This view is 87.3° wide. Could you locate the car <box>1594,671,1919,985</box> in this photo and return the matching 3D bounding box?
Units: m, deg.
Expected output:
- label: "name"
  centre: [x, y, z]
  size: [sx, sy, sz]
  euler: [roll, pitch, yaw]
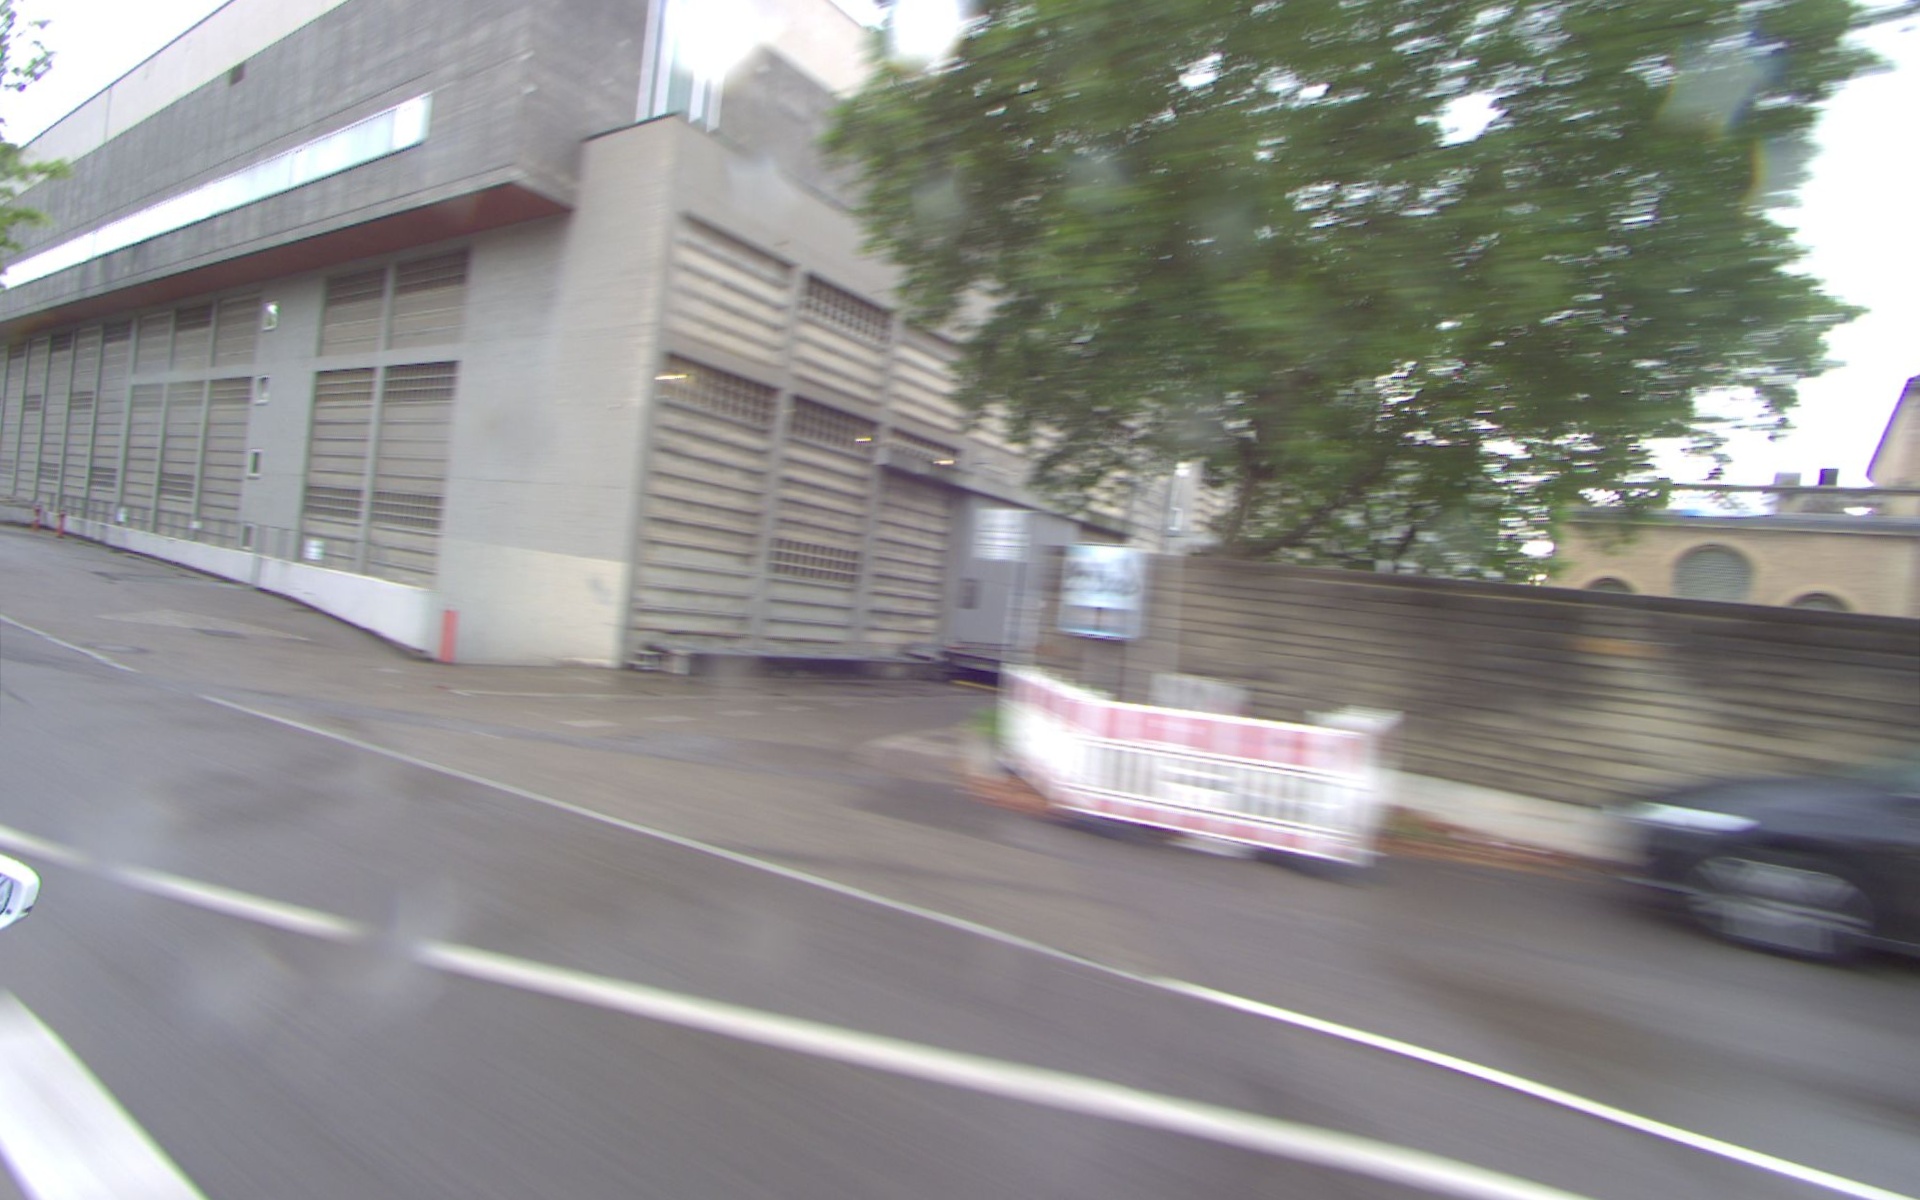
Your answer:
- label: "car"
  centre: [6.472, 1.475, 5.996]
  size: [4.263, 1.572, 1.801]
  euler: [6, 2, 39]
